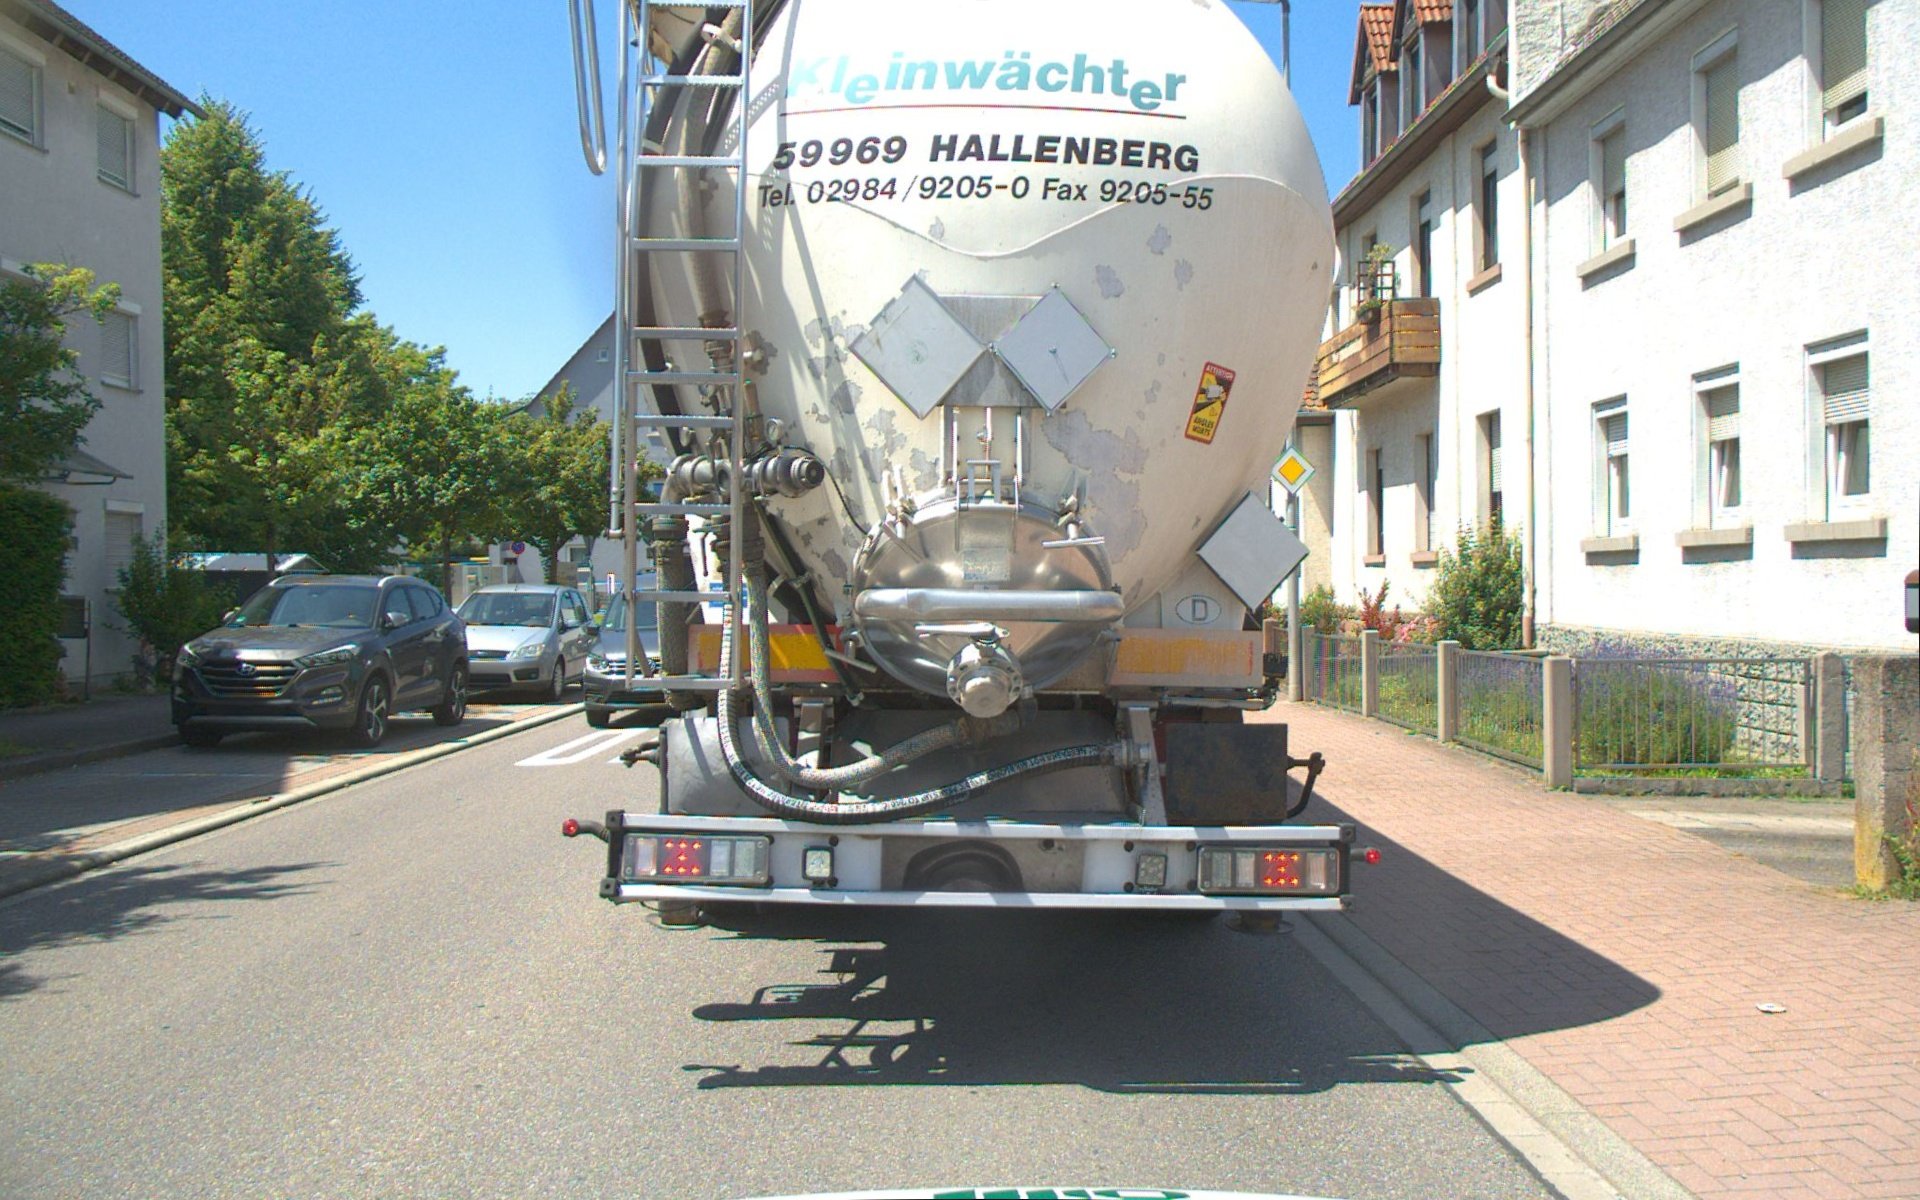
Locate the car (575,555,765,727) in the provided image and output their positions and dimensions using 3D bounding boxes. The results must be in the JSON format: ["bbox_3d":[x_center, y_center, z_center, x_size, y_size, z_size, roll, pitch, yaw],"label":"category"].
[{"bbox_3d":[-3.551,0.444,20.970,1.622,1.887,4.463,-2,0,-1],"label":"car"}]

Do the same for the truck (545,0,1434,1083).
[{"bbox_3d":[0.047,-0.660,9.639,2.587,4.086,9.560,0,0,-1],"label":"truck"}]

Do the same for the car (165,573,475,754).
[{"bbox_3d":[-6.427,0.568,17.097,1.657,1.648,3.997,0,0,0],"label":"car"}]

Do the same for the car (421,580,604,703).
[{"bbox_3d":[-6.333,0.538,23.813,1.663,1.608,3.837,0,0,-1],"label":"car"}]
